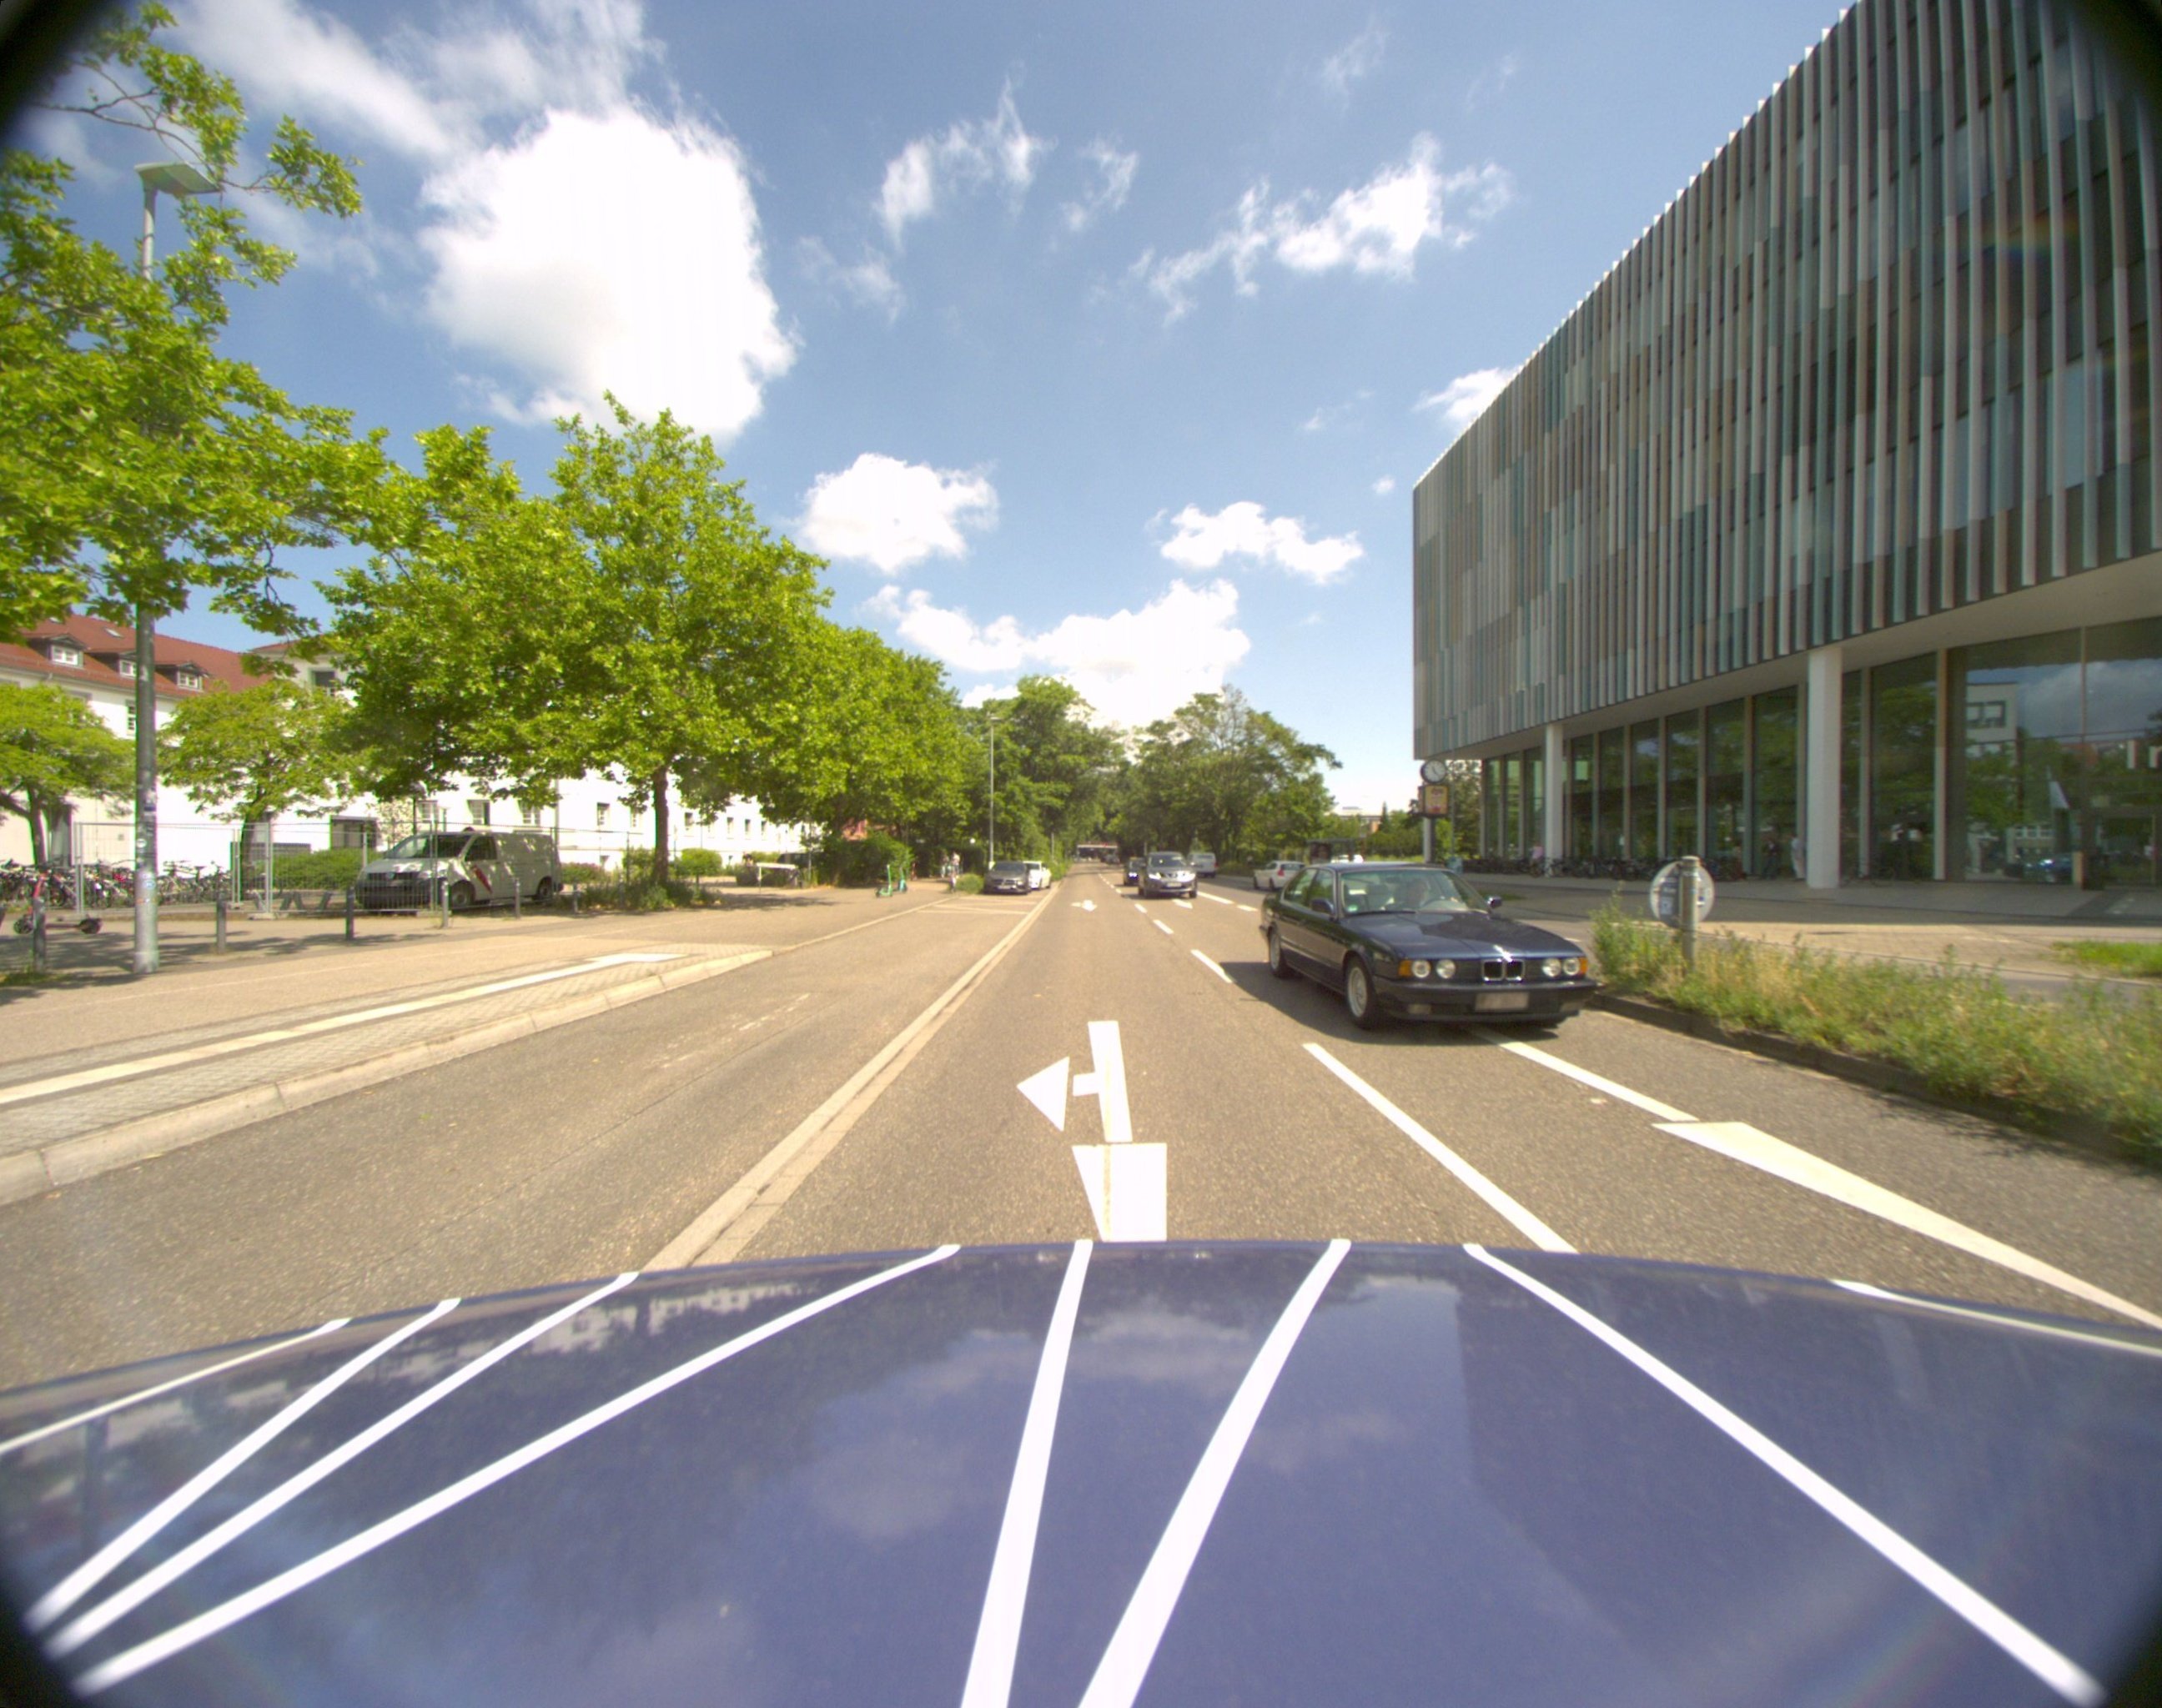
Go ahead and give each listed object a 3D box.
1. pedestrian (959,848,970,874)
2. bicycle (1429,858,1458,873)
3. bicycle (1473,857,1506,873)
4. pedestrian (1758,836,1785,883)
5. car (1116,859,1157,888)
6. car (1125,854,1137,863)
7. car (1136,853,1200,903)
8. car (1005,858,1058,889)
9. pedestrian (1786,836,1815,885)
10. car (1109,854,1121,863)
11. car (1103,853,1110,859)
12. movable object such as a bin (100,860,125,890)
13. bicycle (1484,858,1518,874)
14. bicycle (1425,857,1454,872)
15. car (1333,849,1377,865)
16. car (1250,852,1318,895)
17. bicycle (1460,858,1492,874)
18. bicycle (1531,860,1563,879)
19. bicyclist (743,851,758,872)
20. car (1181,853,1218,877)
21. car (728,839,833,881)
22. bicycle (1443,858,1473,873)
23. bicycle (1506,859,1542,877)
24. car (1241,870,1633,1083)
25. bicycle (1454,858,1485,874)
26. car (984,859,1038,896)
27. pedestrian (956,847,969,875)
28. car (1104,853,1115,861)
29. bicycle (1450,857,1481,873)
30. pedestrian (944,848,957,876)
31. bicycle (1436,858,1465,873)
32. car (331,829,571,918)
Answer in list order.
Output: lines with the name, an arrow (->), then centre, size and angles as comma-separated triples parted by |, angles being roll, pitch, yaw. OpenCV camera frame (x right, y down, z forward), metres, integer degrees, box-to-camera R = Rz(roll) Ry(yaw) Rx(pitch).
pedestrian -> -8.076, 0.451, 52.793 | 0.684, 1.770, 0.790 | -2, 1, -7
bicycle -> 25.102, 0.812, 52.691 | 1.784, 0.950, 0.433 | -2, 1, 0
bicycle -> 25.148, 0.685, 46.757 | 1.784, 0.950, 0.433 | -2, 1, 0
pedestrian -> 27.420, 0.218, 30.180 | 0.562, 1.831, 0.554 | -1, 1, -8
car -> 2.954, 0.986, 39.853 | 1.828, 1.407, 4.193 | -1, 0, 9
car -> 8.608, 0.722, 131.509 | 1.897, 1.502, 3.829 | -2, 1, 5
car -> 3.124, 0.807, 28.024 | 1.824, 1.669, 4.478 | -1, 0, 0
car -> -2.428, 0.959, 38.566 | 1.741, 1.442, 4.945 | 1, 0, 7
pedestrian -> 27.023, 0.245, 28.556 | 0.562, 1.831, 0.554 | -1, 1, -8
car -> 5.903, 0.811, 131.740 | 1.897, 1.502, 3.829 | -2, 1, 5
car -> 6.684, 0.576, 196.239 | 1.756, 1.502, 3.828 | -2, 1, 2
movable object such as a bin -> -34.044, 0.742, 26.720 | 0.389, 1.049, 0.368 | 1, 1, -5
bicycle -> 25.293, 0.721, 45.725 | 1.784, 0.950, 0.433 | -2, 1, 0
bicycle -> 25.135, 0.722, 53.292 | 1.784, 0.950, 0.433 | -2, 1, 0
car -> 27.723, 0.277, 77.009 | 3.824, 1.502, 1.900 | -2, 1, 5
car -> 9.221, 0.845, 34.939 | 1.729, 1.801, 4.732 | 1, 0, -1
bicycle -> 25.050, 0.785, 48.211 | 1.784, 0.950, 0.433 | -2, 1, 0
bicycle -> 24.161, 0.789, 39.394 | 1.547, 0.950, 0.373 | -2, 1, -11
bicyclist -> -20.418, 0.456, 46.984 | 0.607, 1.313, 0.742 | 1, 1, -2
car -> 9.083, 0.827, 58.475 | 1.903, 1.801, 4.731 | 1, 0, -2
car -> -13.855, 0.258, 35.216 | 3.998, 1.772, 1.999 | -2, 1, -3
bicycle -> 25.148, 0.787, 50.717 | 1.784, 0.950, 0.433 | -2, 1, 0
bicycle -> 25.208, 0.779, 43.268 | 1.784, 0.950, 0.433 | -2, 1, 0
car -> 3.048, 0.926, 7.755 | 1.696, 1.378, 4.613 | -2, 0, -2
bicycle -> 25.192, 0.757, 49.262 | 1.784, 0.950, 0.433 | -2, 1, 0
car -> -2.976, 0.972, 33.298 | 1.861, 1.470, 4.942 | 1, -1, 0
pedestrian -> -7.842, 0.467, 50.148 | 0.684, 1.770, 0.790 | -2, 1, -16
car -> 5.772, 0.630, 152.401 | 1.897, 1.502, 3.829 | -2, 1, 5
bicycle -> 25.231, 0.722, 49.850 | 1.784, 0.950, 0.433 | -2, 1, 0
pedestrian -> -8.575, 0.536, 49.936 | 0.684, 1.770, 0.790 | -2, 1, -15
bicycle -> 25.068, 0.767, 51.554 | 1.784, 0.950, 0.433 | -2, 1, 0
car -> -15.062, 0.395, 18.660 | 1.903, 1.854, 4.940 | -1, 1, -3
